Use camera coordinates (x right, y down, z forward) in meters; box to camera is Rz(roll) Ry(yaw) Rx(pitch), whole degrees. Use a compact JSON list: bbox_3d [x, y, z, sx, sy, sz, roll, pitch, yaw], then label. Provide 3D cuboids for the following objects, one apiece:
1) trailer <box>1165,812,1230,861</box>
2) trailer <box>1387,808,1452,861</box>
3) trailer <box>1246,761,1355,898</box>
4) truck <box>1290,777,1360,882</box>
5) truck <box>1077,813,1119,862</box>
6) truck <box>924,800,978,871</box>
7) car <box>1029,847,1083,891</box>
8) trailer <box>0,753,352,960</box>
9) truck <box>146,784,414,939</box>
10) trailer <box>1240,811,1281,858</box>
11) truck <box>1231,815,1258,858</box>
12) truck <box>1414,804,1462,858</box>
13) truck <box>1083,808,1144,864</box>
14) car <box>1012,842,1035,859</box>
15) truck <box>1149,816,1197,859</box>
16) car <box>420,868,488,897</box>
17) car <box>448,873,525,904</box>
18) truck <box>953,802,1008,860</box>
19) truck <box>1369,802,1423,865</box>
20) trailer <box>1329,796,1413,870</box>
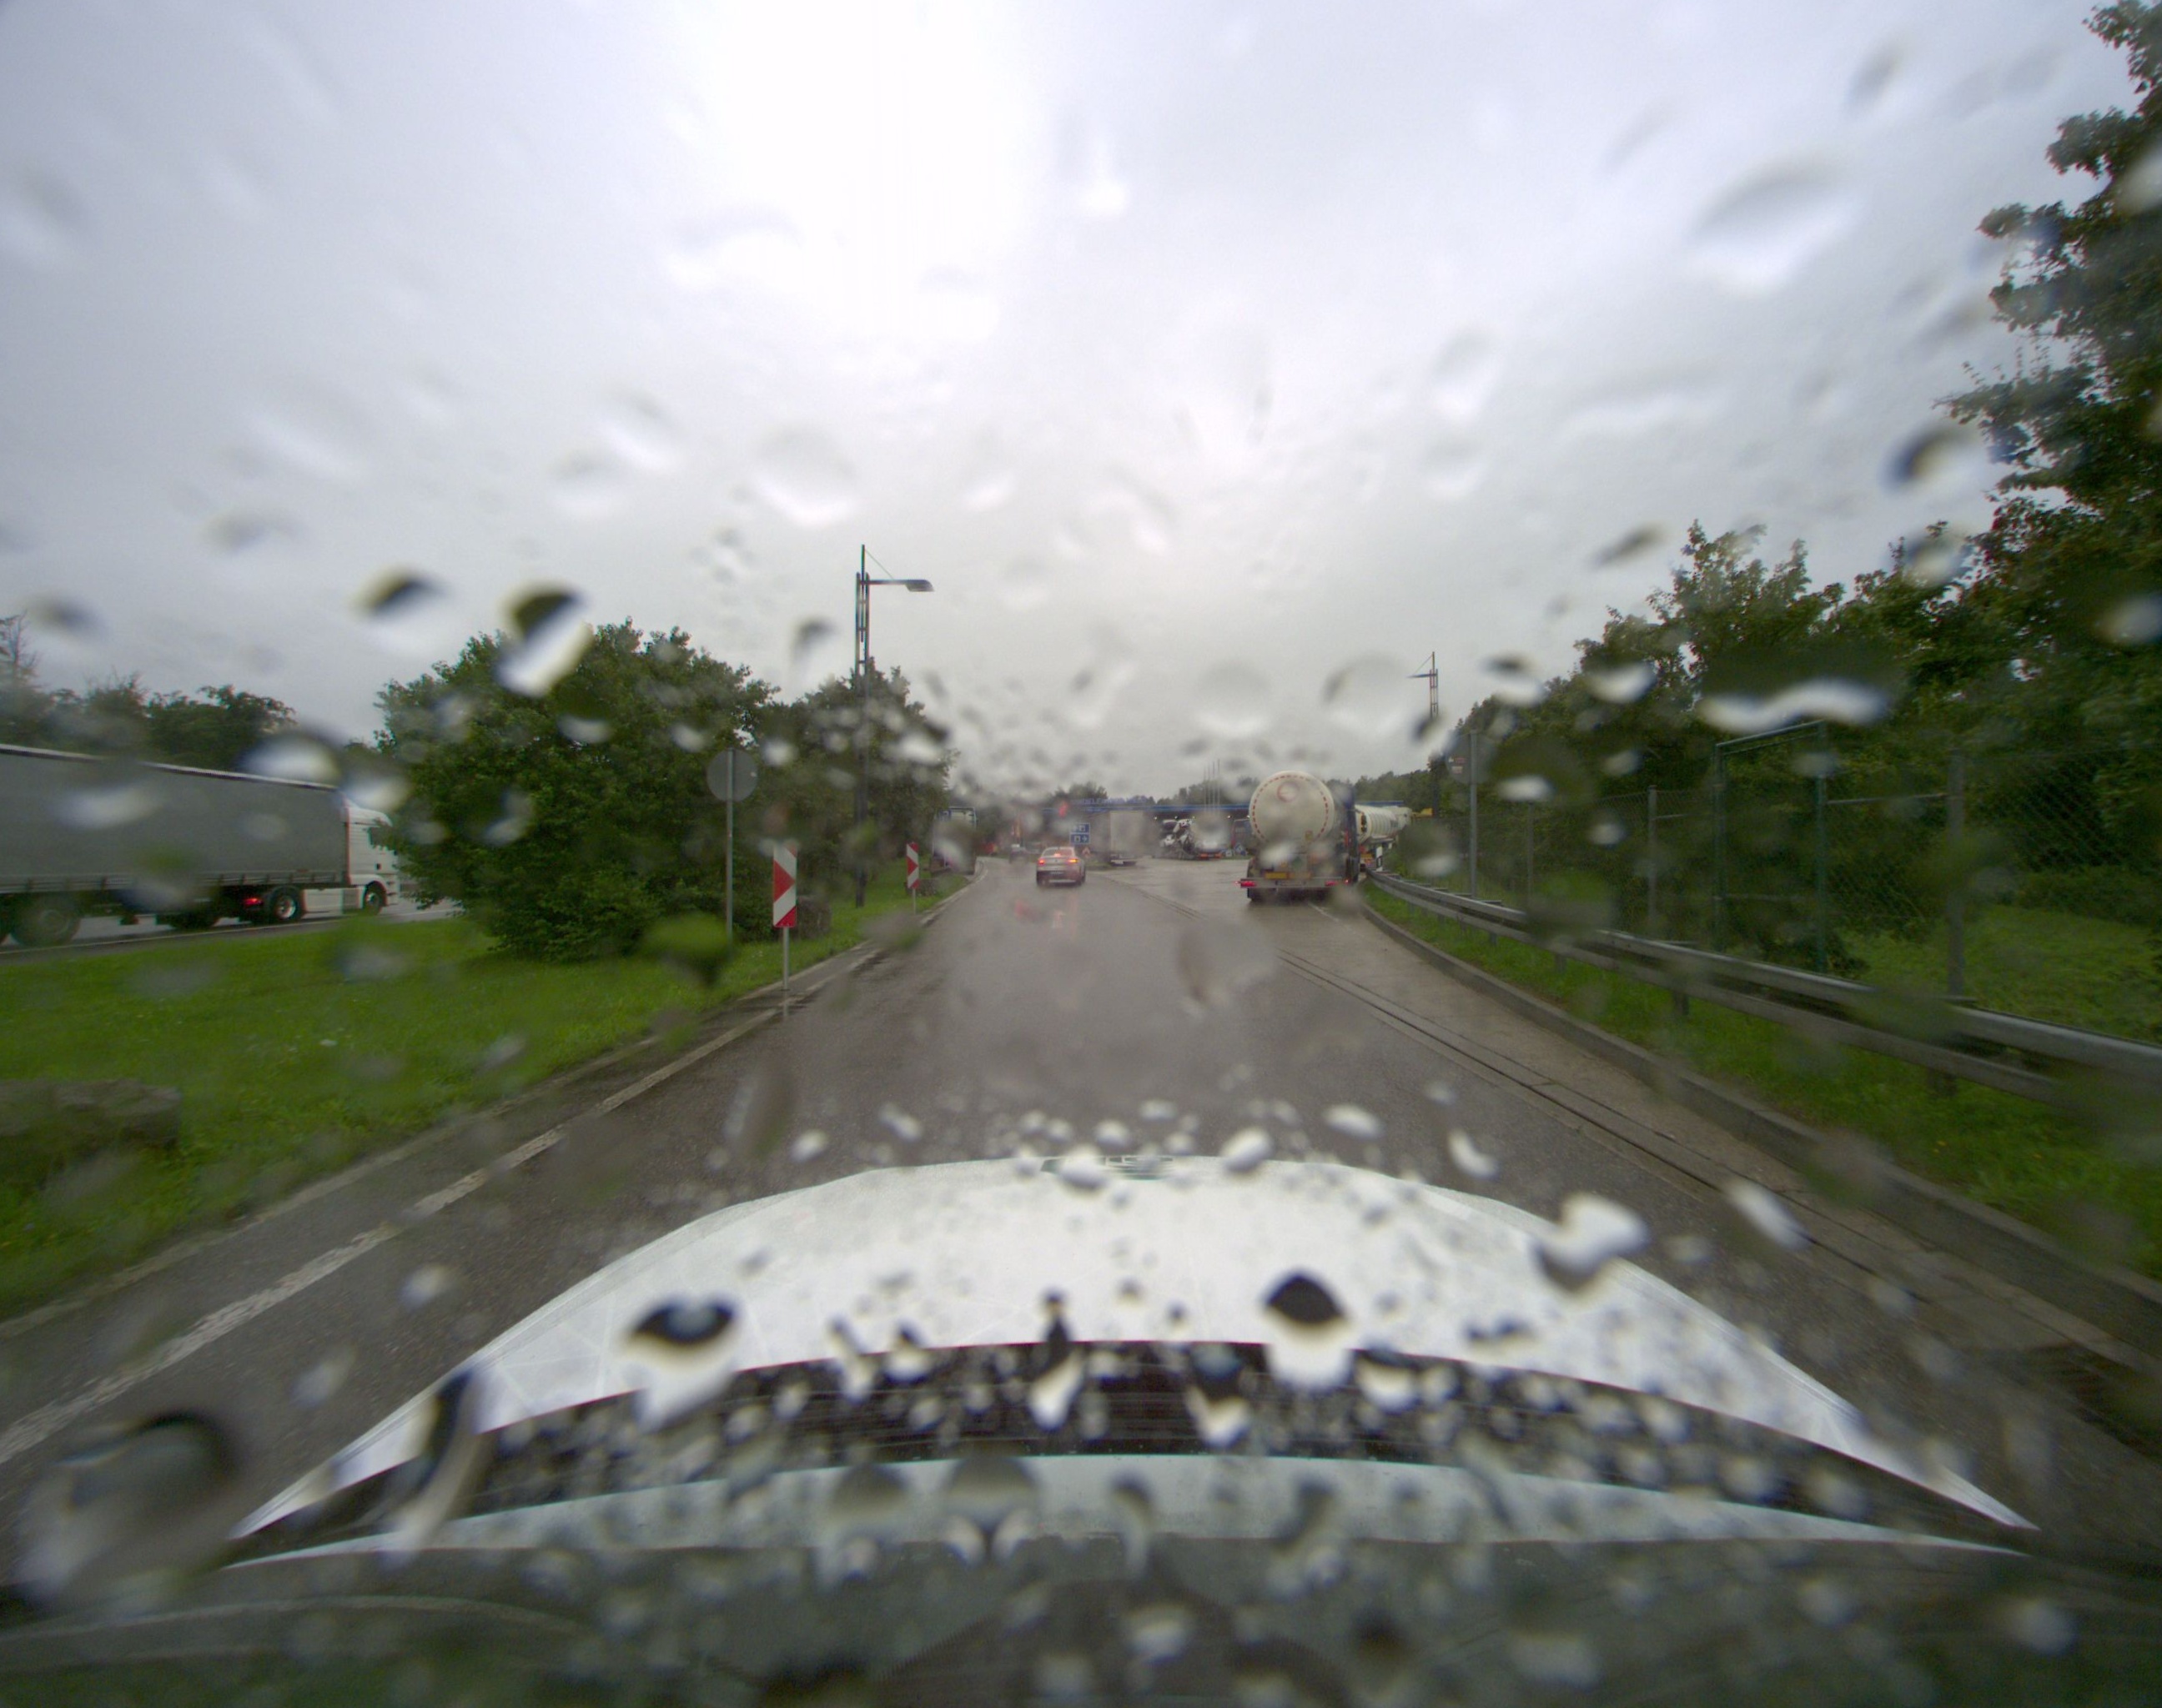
[{"bbox_3d":[10.565,-1.601,75.322,3.212,4.188,11.505,0,1,-6],"label":"trailer"},{"bbox_3d":[23.556,-1.336,56.408,2.161,3.392,7.612,-1,1,38],"label":"trailer"},{"bbox_3d":[6.842,-0.627,24.261,1.963,3.224,10.376,0,1,22],"label":"trailer"},{"bbox_3d":[9.011,-0.845,29.843,2.035,3.531,4.771,0,0,22],"label":"truck"},{"bbox_3d":[1.369,-1.381,69.233,2.369,3.873,6.992,-1,1,-8],"label":"truck"},{"bbox_3d":[-7.639,-1.064,48.396,2.914,3.904,6.299,-1,1,-8],"label":"truck"},{"bbox_3d":[-0.944,0.600,33.220,1.986,1.679,4.000,1,-1,1],"label":"car"},{"bbox_3d":[-22.674,0.146,17.848,2.895,3.982,14.067,-2,-1,-10],"label":"trailer"},{"bbox_3d":[-23.901,0.226,24.821,2.873,4.052,5.913,-2,-1,-10],"label":"truck"},{"bbox_3d":[18.185,-1.874,83.164,1.987,4.559,9.807,0,0,0],"label":"trailer"},{"bbox_3d":[18.152,-1.902,90.479,1.982,4.549,4.794,0,0,0],"label":"truck"},{"bbox_3d":[26.290,-1.652,59.898,2.160,3.828,4.168,-1,1,38],"label":"truck"},{"bbox_3d":[2.295,-1.342,63.007,2.369,3.873,12.419,-1,1,-8],"label":"truck"},{"bbox_3d":[-5.224,-0.308,74.472,1.873,1.461,3.998,0,0,-1],"label":"car"},{"bbox_3d":[9.511,-1.708,85.278,3.230,4.188,8.426,0,1,-6],"label":"truck"},{"bbox_3d":[-40.676,1.829,52.929,1.708,1.750,3.988,1,-1,-9],"label":"car"},{"bbox_3d":[-35.552,2.022,48.856,1.926,1.663,4.443,-1,-1,-10],"label":"car"},{"bbox_3d":[-10.062,-2.204,80.036,4.792,5.305,11.033,-1,1,-10],"label":"truck"},{"bbox_3d":[18.691,-1.192,48.156,2.125,3.513,4.676,-1,1,32],"label":"truck"},{"bbox_3d":[15.423,-1.052,42.743,2.111,3.440,10.318,-1,1,31],"label":"trailer"}]
